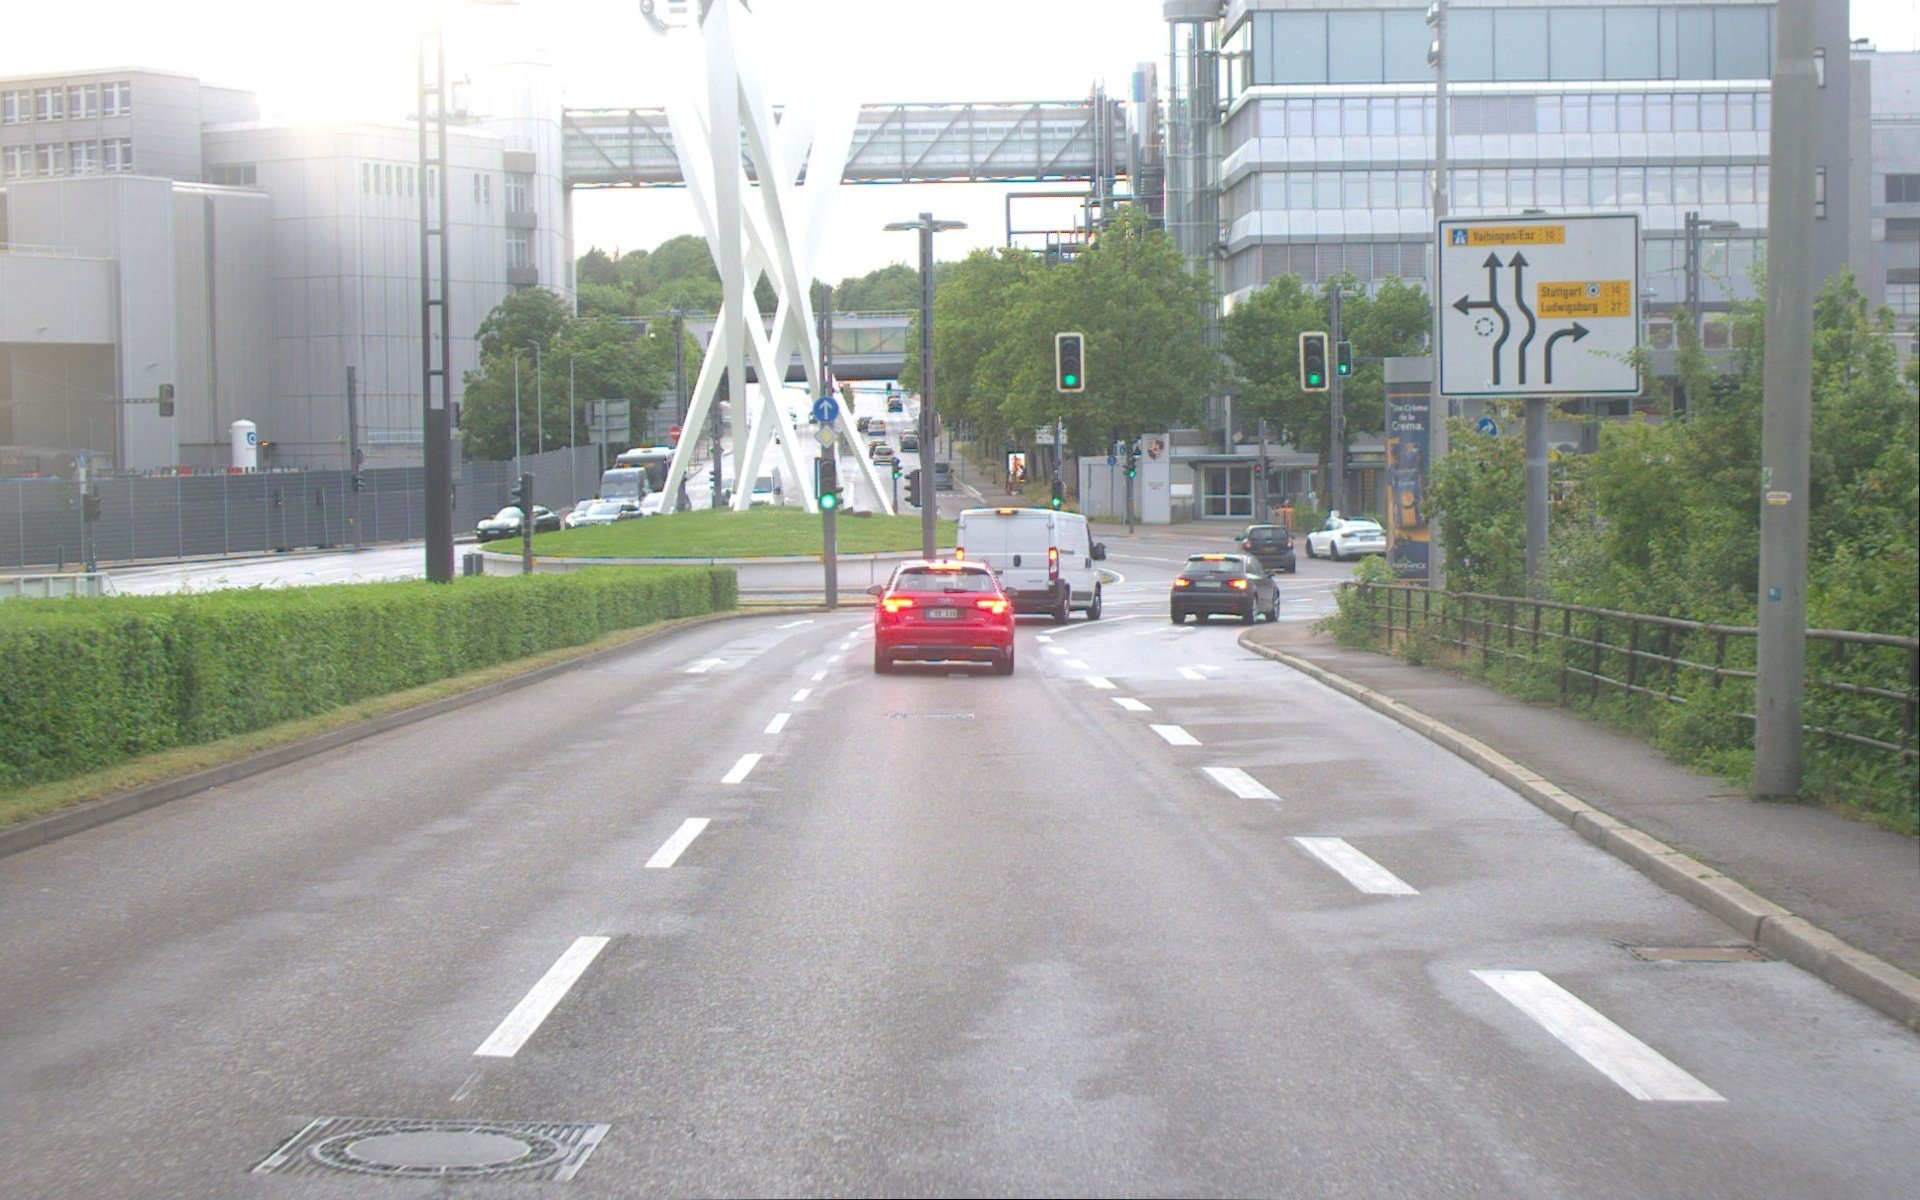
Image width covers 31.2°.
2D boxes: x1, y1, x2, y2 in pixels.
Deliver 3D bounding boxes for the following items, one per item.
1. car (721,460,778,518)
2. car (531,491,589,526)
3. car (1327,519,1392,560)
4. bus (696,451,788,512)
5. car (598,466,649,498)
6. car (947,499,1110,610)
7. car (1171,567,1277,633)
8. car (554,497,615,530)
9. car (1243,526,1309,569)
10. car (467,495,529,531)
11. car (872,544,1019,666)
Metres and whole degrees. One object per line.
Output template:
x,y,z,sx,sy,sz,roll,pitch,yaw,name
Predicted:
-9.205,-4.856,150.683,1.993,2.438,5.427,-1,2,1,car
-17.258,-3.957,148.445,1.833,1.467,4.514,0,2,2,car
13.059,-1.978,112.554,1.667,1.296,3.886,0,1,0,car
-11.669,-6.364,185.092,2.669,3.190,12.667,0,2,7,bus
-15.778,-5.513,161.351,1.833,1.467,4.514,0,2,2,car
1.408,-0.893,68.289,2.234,2.100,4.951,0,0,13,car
5.355,-0.018,69.459,1.611,1.286,3.564,0,1,13,car
-15.432,-3.582,141.495,1.845,1.333,4.000,0,2,3,car
9.728,-1.612,106.024,1.557,1.284,3.414,0,1,-2,car
-18.973,-3.590,141.422,1.833,1.467,4.514,0,2,2,car
-0.196,0.037,43.526,1.772,1.459,3.733,0,1,0,car
